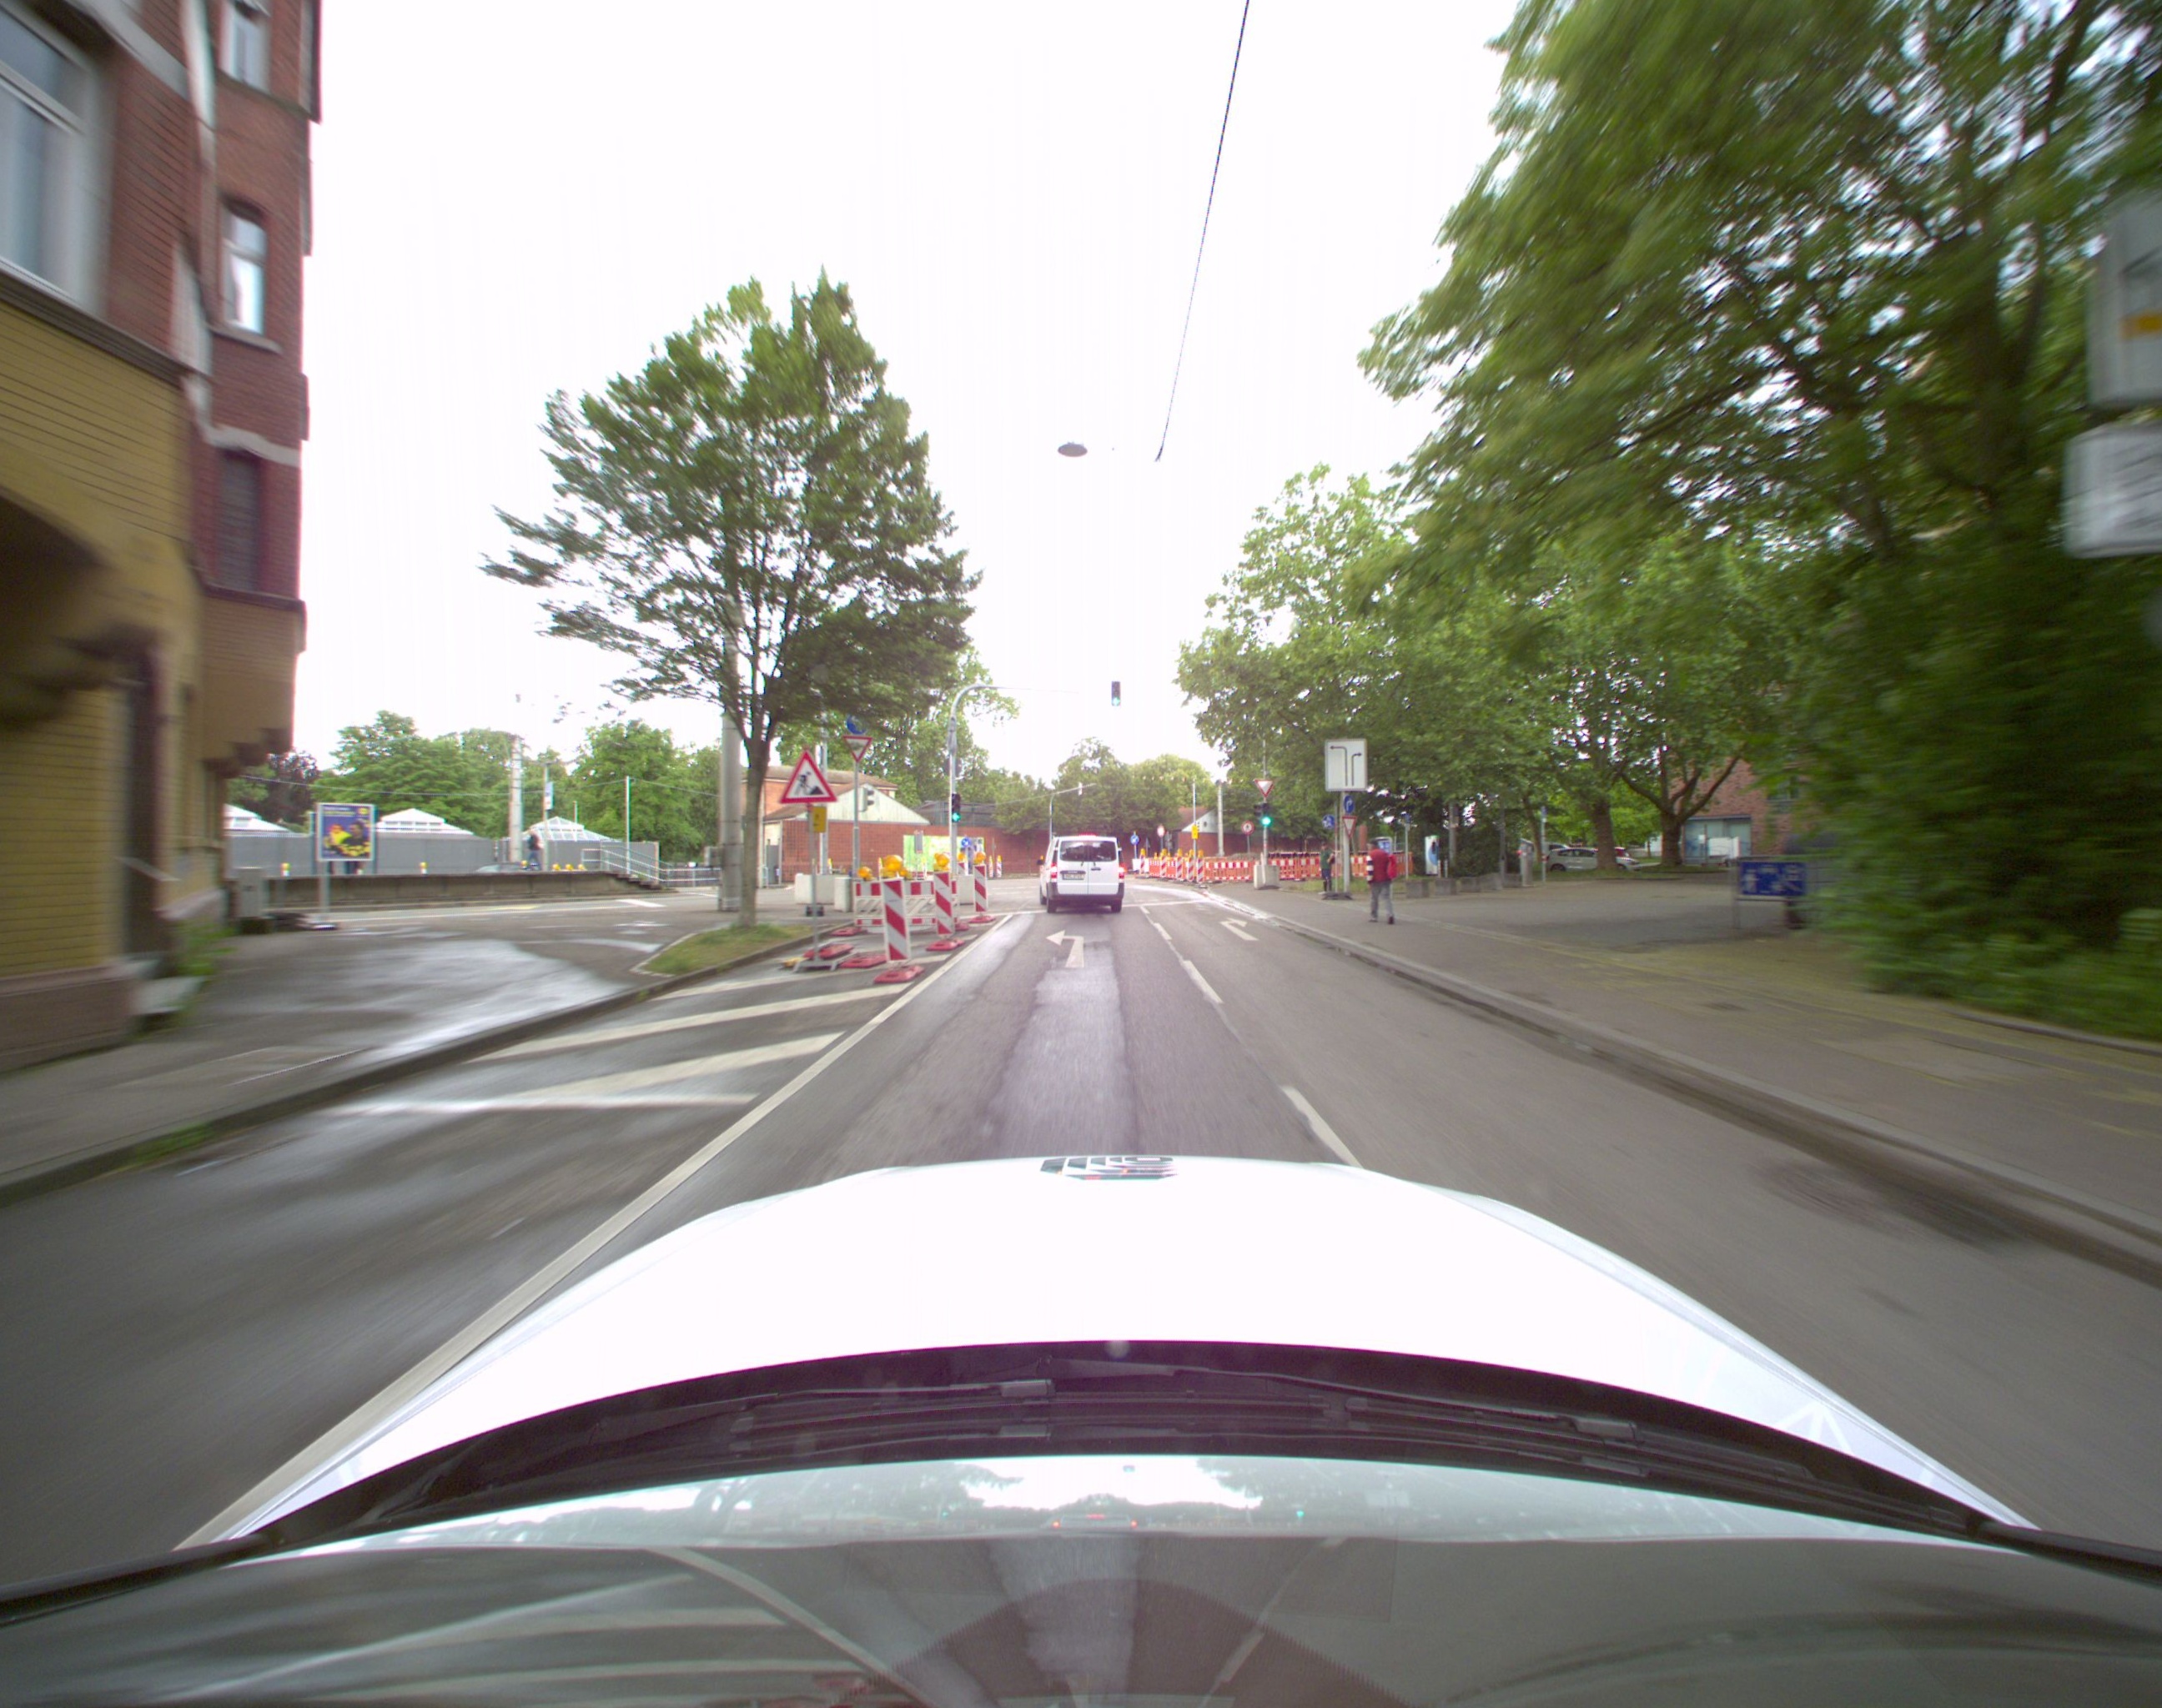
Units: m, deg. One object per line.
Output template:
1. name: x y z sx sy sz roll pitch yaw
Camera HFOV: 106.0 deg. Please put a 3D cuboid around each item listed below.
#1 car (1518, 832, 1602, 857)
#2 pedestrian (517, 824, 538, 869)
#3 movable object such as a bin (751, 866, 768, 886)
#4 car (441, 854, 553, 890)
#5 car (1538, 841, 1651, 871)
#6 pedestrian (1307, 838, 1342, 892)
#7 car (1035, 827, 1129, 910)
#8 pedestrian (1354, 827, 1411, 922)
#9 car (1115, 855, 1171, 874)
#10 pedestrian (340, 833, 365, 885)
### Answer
1. car: 31.296 -0.606 53.302 4.449 1.472 1.731 -3 -2 40
2. pedestrian: -20.060 -0.263 29.527 0.528 1.610 0.591 -1 -1 -44
3. movable object such as a bin: -22.070 1.530 55.853 0.855 1.340 0.791 -1 -2 -41
4. car: -26.992 0.809 37.718 4.022 1.552 1.736 0 -3 -43
5. car: 25.443 0.103 40.424 4.450 1.326 1.730 -3 -2 44
6. pedestrian: 7.852 0.356 26.287 0.730 1.697 0.835 -2 0 -7
7. car: -0.095 0.437 21.636 1.915 1.902 4.690 3 -3 -6
8. pedestrian: 6.010 0.400 16.260 0.776 1.831 0.728 -3 0 1
9. car: 5.204 0.892 68.137 4.478 1.443 1.859 0 -3 -36
10. pedestrian: -24.057 0.175 26.889 0.602 1.699 0.453 -1 -1 -44
